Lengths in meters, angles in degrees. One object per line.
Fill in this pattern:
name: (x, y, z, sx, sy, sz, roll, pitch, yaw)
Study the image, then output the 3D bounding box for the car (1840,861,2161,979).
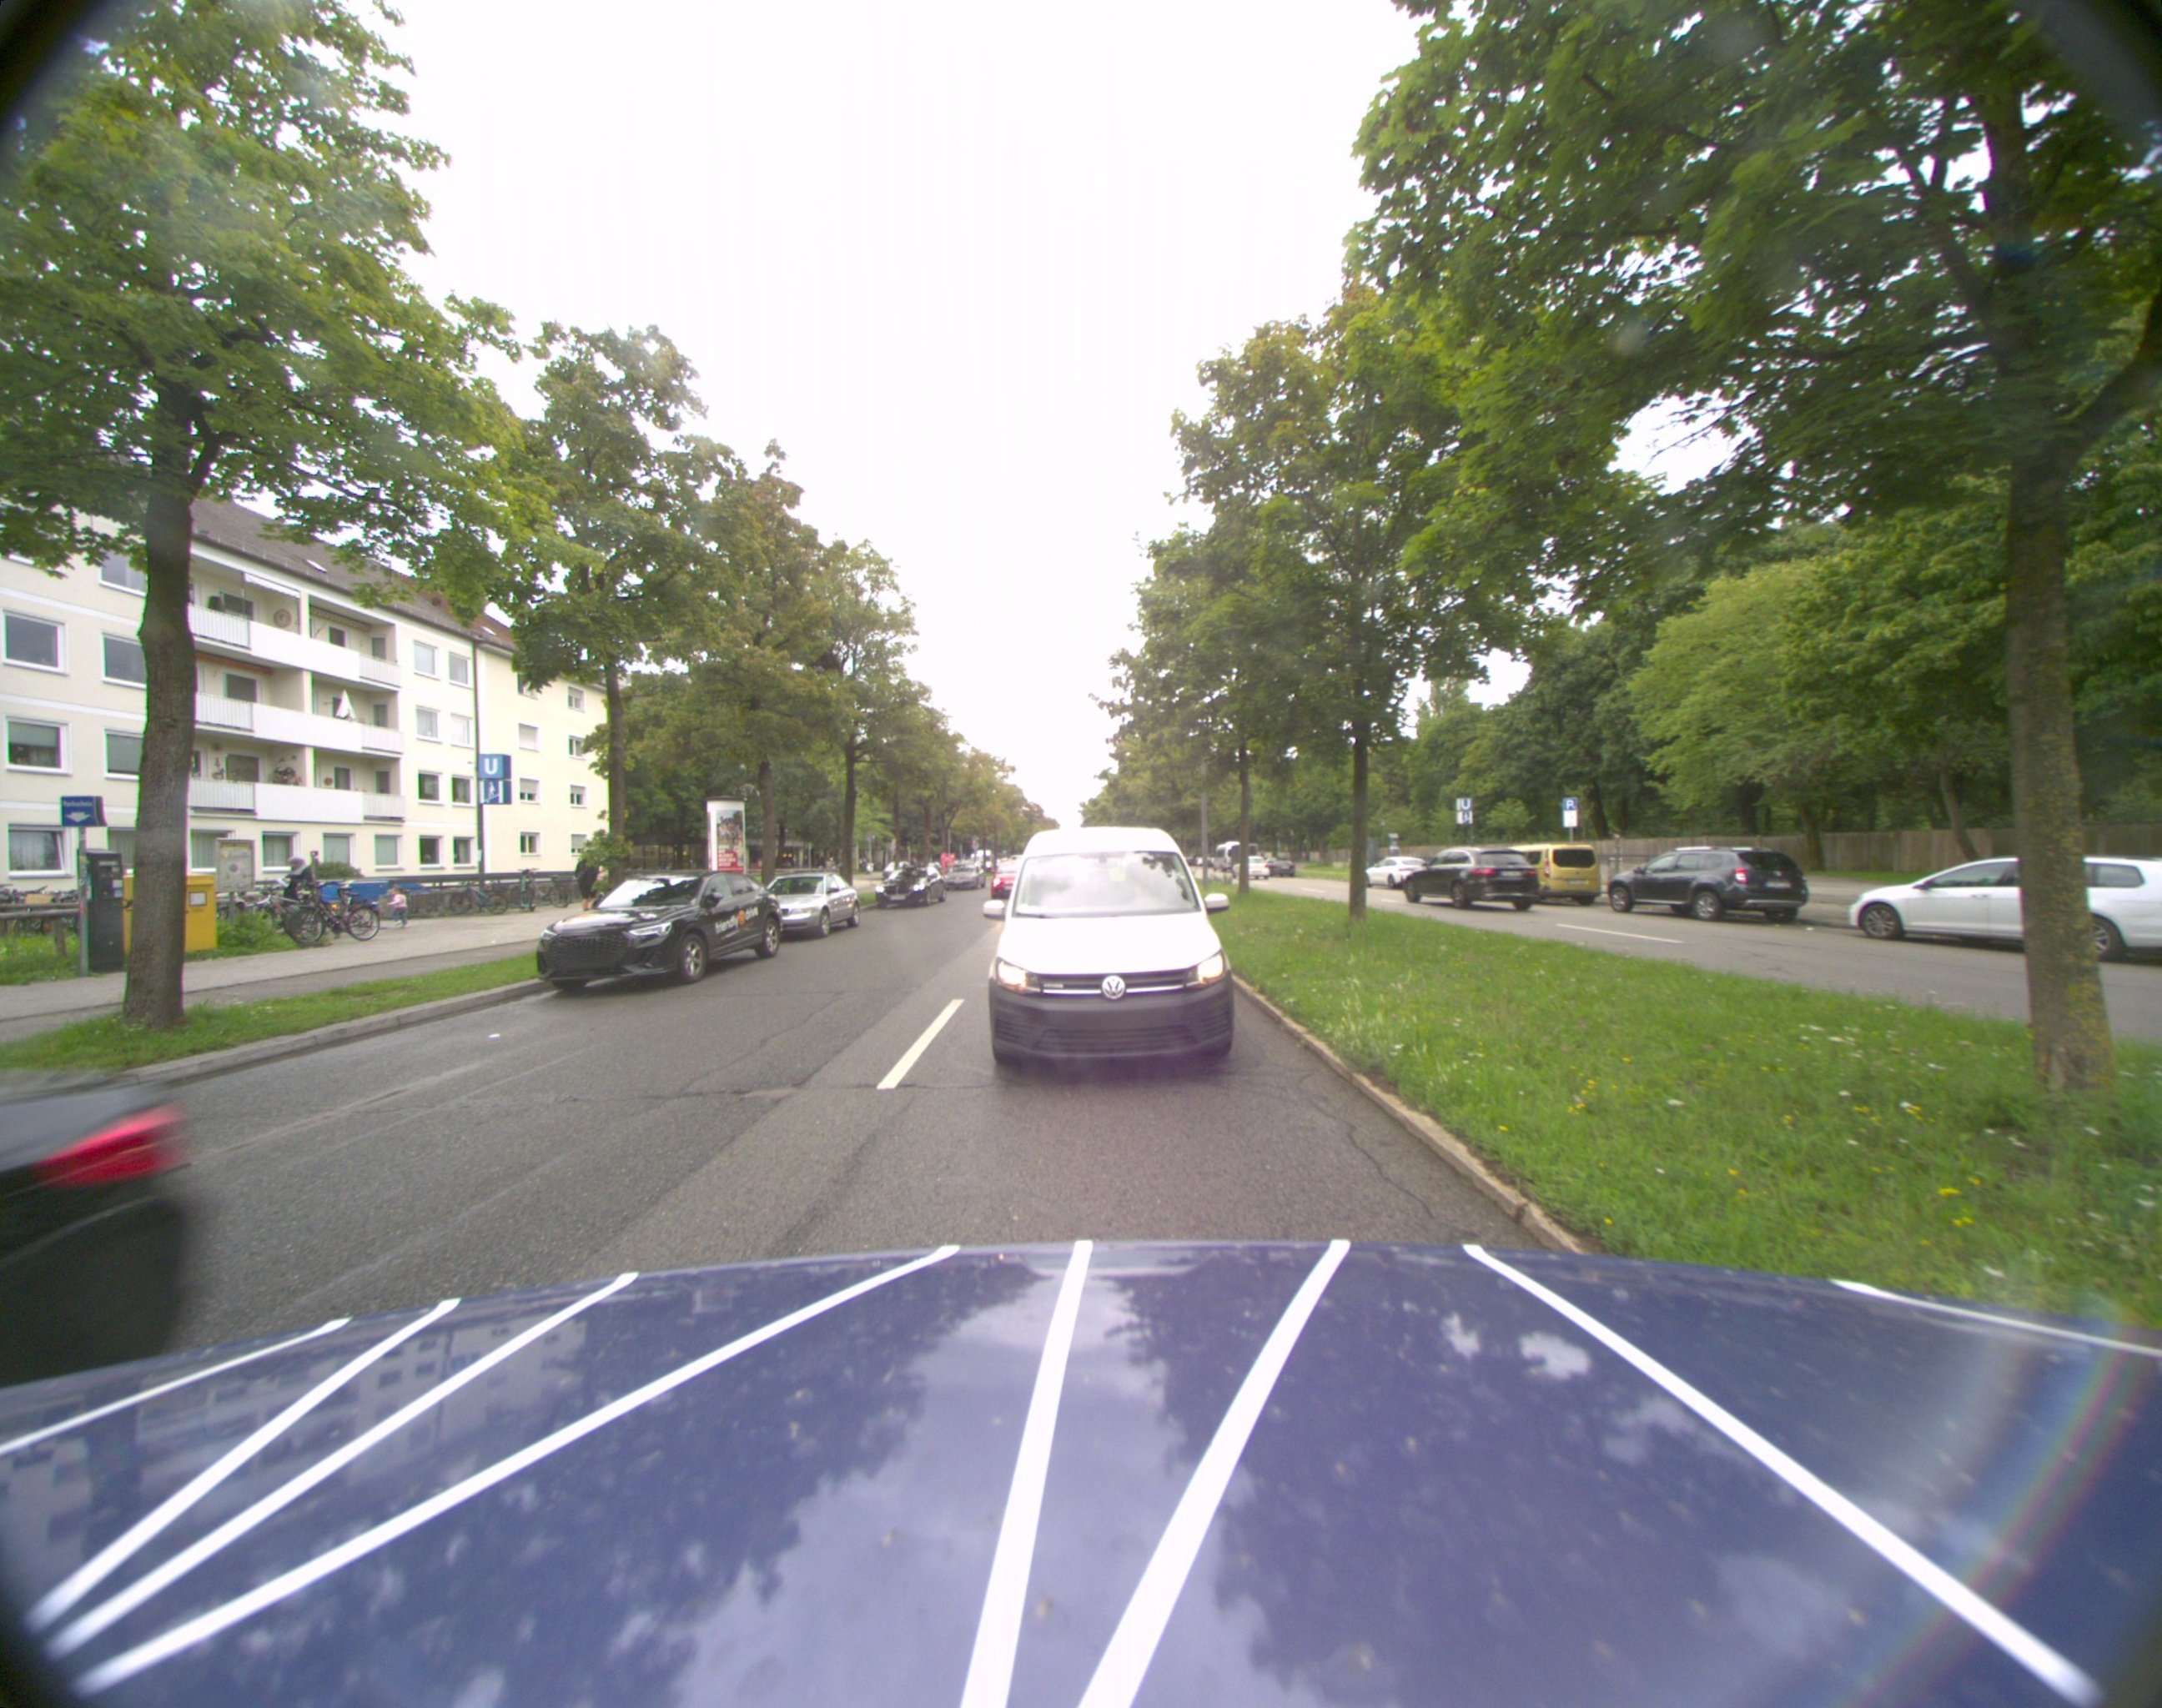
car: (14.586, 0.855, 11.491, 1.826, 1.461, 4.300, 0, 0, -2)

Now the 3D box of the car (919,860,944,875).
car: (-16.224, 1.461, 82.488, 1.827, 1.460, 4.300, -2, 0, 0)

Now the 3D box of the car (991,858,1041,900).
car: (-2.577, 0.953, 31.044, 1.723, 1.492, 4.300, -2, 0, -1)

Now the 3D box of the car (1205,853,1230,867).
car: (14.095, 0.591, 78.558, 1.717, 1.401, 4.040, 0, 0, -2)

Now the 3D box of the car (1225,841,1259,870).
car: (14.403, 0.117, 68.205, 1.999, 2.576, 4.499, 0, 0, -2)

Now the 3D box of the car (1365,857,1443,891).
car: (14.607, 0.850, 34.601, 1.717, 1.434, 4.040, 0, 0, -2)

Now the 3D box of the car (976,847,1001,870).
car: (-10.147, 0.436, 84.138, 1.998, 2.440, 4.999, -2, 1, 1)

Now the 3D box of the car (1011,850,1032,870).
car: (-6.249, 0.599, 80.131, 1.827, 1.939, 4.300, -2, 0, 0)

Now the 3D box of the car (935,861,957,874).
car: (-16.908, 1.676, 95.281, 1.827, 1.460, 4.300, -2, 0, 0)

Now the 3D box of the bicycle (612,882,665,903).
bicycle: (-16.261, 1.408, 27.918, 1.599, 0.691, 0.498, -2, 1, -4)

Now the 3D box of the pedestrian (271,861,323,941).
pedestrian: (-16.736, 0.981, 16.232, 0.560, 1.664, 0.519, -2, 1, -20)

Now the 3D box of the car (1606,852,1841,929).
car: (14.750, 0.757, 17.806, 2.007, 1.607, 4.040, 0, 0, -2)

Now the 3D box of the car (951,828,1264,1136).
car: (0.154, 0.756, 6.811, 1.772, 1.742, 4.545, -3, 0, 0)

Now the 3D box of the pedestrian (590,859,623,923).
pedestrian: (-12.042, 0.929, 19.284, 0.560, 1.595, 0.519, -2, 1, -20)

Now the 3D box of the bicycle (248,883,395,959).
bicycle: (-13.790, 1.173, 13.892, 0.545, 1.182, 2.076, -1, 0, 1)

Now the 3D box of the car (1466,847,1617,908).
car: (14.286, 0.663, 23.923, 1.862, 1.761, 4.533, 0, 0, -2)

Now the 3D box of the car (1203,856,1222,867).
car: (17.469, 0.939, 101.217, 1.717, 1.401, 4.040, 0, 0, -2)

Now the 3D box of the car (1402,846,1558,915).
car: (10.702, 0.652, 20.827, 1.866, 1.659, 4.500, 1, 0, 0)

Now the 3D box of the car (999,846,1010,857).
car: (-17.881, -0.535, 177.895, 1.999, 2.440, 4.999, -1, 0, -1)

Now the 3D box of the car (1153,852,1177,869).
car: (8.479, 0.595, 76.752, 1.866, 1.649, 4.500, 1, 0, 0)

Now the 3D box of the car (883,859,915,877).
car: (-16.357, 1.257, 68.426, 1.827, 1.460, 4.300, -2, 0, 0)

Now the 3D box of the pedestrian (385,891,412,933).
pedestrian: (-15.325, 1.292, 17.068, 0.338, 0.915, 0.395, -2, 1, -28)

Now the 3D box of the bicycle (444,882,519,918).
bicycle: (-16.576, 1.275, 21.028, 1.599, 0.910, 0.498, -1, 1, -4)

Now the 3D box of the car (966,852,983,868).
car: (-17.366, 0.917, 124.190, 1.999, 2.440, 4.999, -1, 0, -1)

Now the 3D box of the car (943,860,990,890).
car: (-6.188, 1.095, 41.576, 1.827, 1.460, 4.300, -2, 0, 0)

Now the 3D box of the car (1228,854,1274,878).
car: (10.844, 0.713, 48.772, 1.866, 1.447, 4.500, 1, 0, 0)

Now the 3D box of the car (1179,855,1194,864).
car: (17.078, 0.857, 123.105, 1.717, 1.401, 4.040, 0, 0, -2)

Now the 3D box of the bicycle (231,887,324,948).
bicycle: (-15.917, 1.236, 15.096, 0.466, 1.110, 1.253, -1, 0, 1)

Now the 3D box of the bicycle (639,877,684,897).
bicycle: (-15.857, 1.247, 28.758, 1.392, 0.709, 0.498, 1, 0, -4)

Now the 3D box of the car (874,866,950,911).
car: (-6.010, 1.181, 27.538, 1.827, 1.371, 4.300, -2, 0, -1)

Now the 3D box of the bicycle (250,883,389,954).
bicycle: (-14.696, 1.198, 14.751, 0.545, 1.182, 2.076, -1, 0, 1)

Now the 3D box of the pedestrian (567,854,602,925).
pedestrian: (-12.545, 0.874, 19.216, 0.560, 1.745, 0.656, -2, 1, -20)

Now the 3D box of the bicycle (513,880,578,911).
bicycle: (-16.492, 1.263, 23.432, 1.599, 0.910, 0.498, 0, 1, -4)

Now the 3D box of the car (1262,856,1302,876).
car: (14.634, 0.829, 55.524, 1.717, 1.401, 4.040, 0, 0, -2)

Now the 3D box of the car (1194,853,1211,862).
car: (17.746, 0.486, 111.244, 1.717, 1.401, 4.040, 0, 0, -2)

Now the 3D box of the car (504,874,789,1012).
car: (-6.111, 1.147, 11.368, 1.826, 1.502, 4.157, -2, 0, 0)

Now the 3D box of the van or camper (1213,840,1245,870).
van or camper: (14.223, 0.075, 73.182, 1.999, 2.791, 4.931, 0, 0, -2)

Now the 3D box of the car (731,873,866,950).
car: (-6.229, 1.200, 17.215, 1.617, 1.371, 3.926, -2, 0, -1)
